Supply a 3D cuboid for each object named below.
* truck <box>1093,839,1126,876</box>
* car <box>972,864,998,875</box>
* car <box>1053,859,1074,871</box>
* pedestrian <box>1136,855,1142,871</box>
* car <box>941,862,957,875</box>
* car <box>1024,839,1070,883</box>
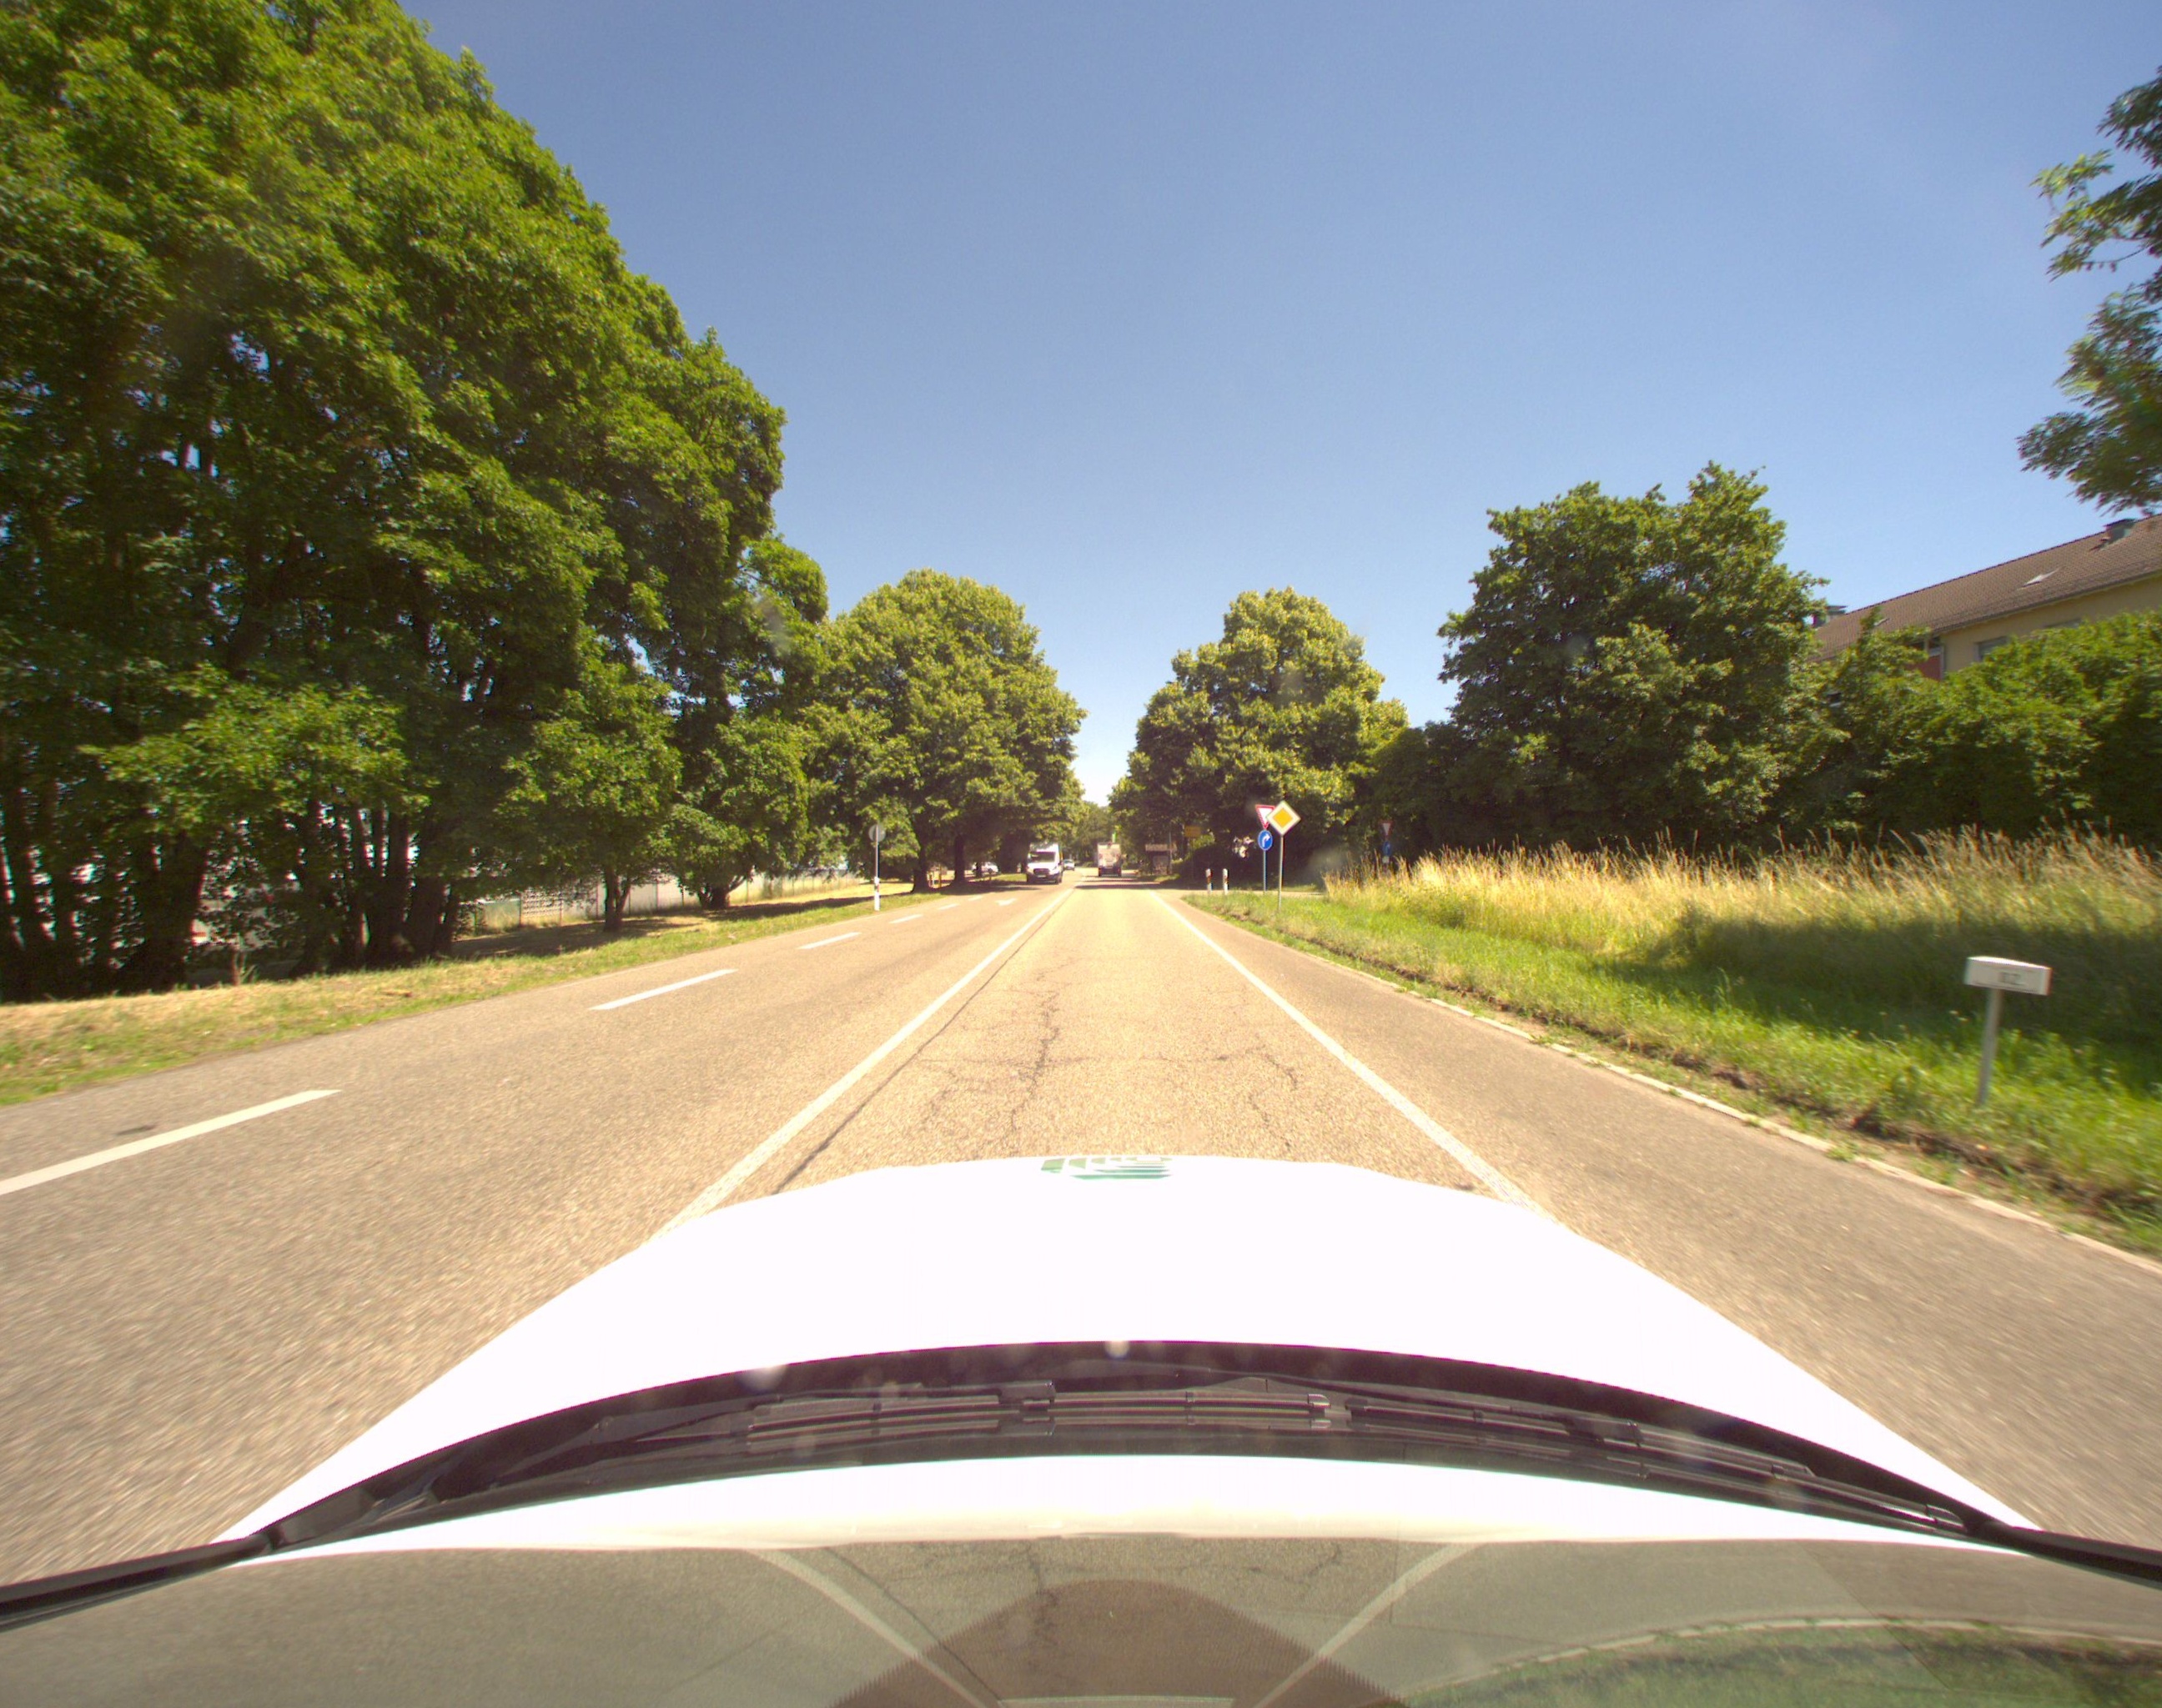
[{"bbox_3d":[2.570,0.303,72.236,2.521,3.135,5.370,-1,0,6],"label":"truck"},{"bbox_3d":[-13.201,2.146,111.913,3.390,1.362,1.343,-2,-1,30],"label":"car"},{"bbox_3d":[-2.897,1.836,132.311,2.000,1.857,5.281,-1,-1,-19],"label":"car"},{"bbox_3d":[6.732,1.022,94.558,0.545,1.776,0.578,-1,-1,6],"label":"pedestrian"},{"bbox_3d":[-17.605,1.922,108.497,1.738,1.585,3.982,-1,-1,-13],"label":"car"},{"bbox_3d":[-2.084,0.457,52.494,2.064,2.627,6.792,-1,-1,4],"label":"car"}]
